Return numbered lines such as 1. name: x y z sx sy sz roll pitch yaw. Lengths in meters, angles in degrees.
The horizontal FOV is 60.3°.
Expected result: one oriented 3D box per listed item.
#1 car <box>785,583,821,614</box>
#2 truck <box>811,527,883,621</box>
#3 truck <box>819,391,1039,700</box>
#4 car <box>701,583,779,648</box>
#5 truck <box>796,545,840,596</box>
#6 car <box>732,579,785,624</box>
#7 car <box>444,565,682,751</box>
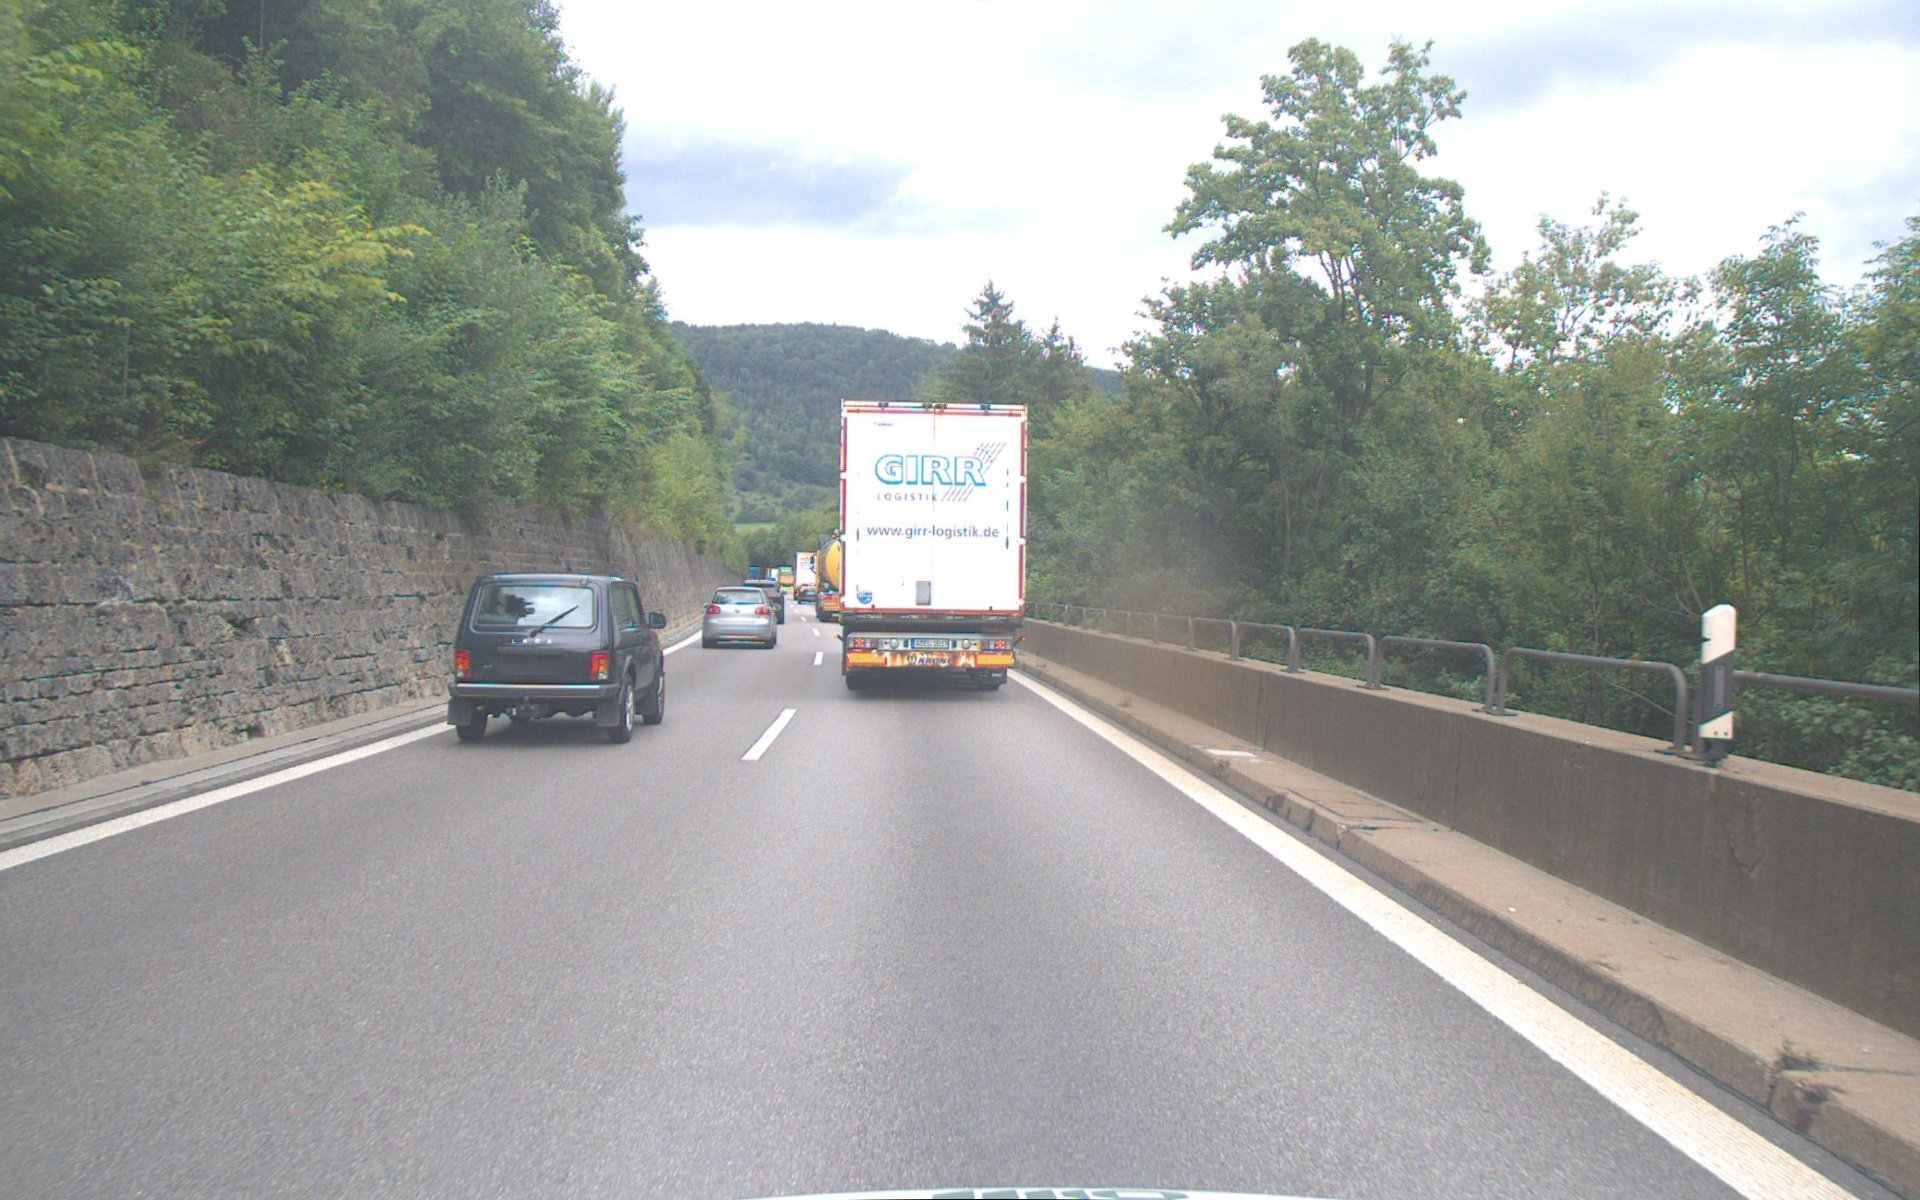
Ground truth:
1. car: -10.787 -0.100 114.024 1.952 2.049 4.000 1 -1 1
2. truck: -4.826 -1.019 69.142 2.439 3.634 9.294 1 0 -7
3. truck: -0.555 -0.736 26.546 2.850 4.030 9.275 1 0 -2
4. car: -5.403 0.372 40.966 1.695 1.512 3.996 1 0 -5
5. truck: -11.914 -2.395 139.725 3.442 3.914 11.765 2 -1 -4
6. car: -7.614 0.050 62.670 1.880 1.622 4.173 1 0 -7
7. car: -3.945 0.530 17.059 1.635 1.667 4.066 1 0 -3
